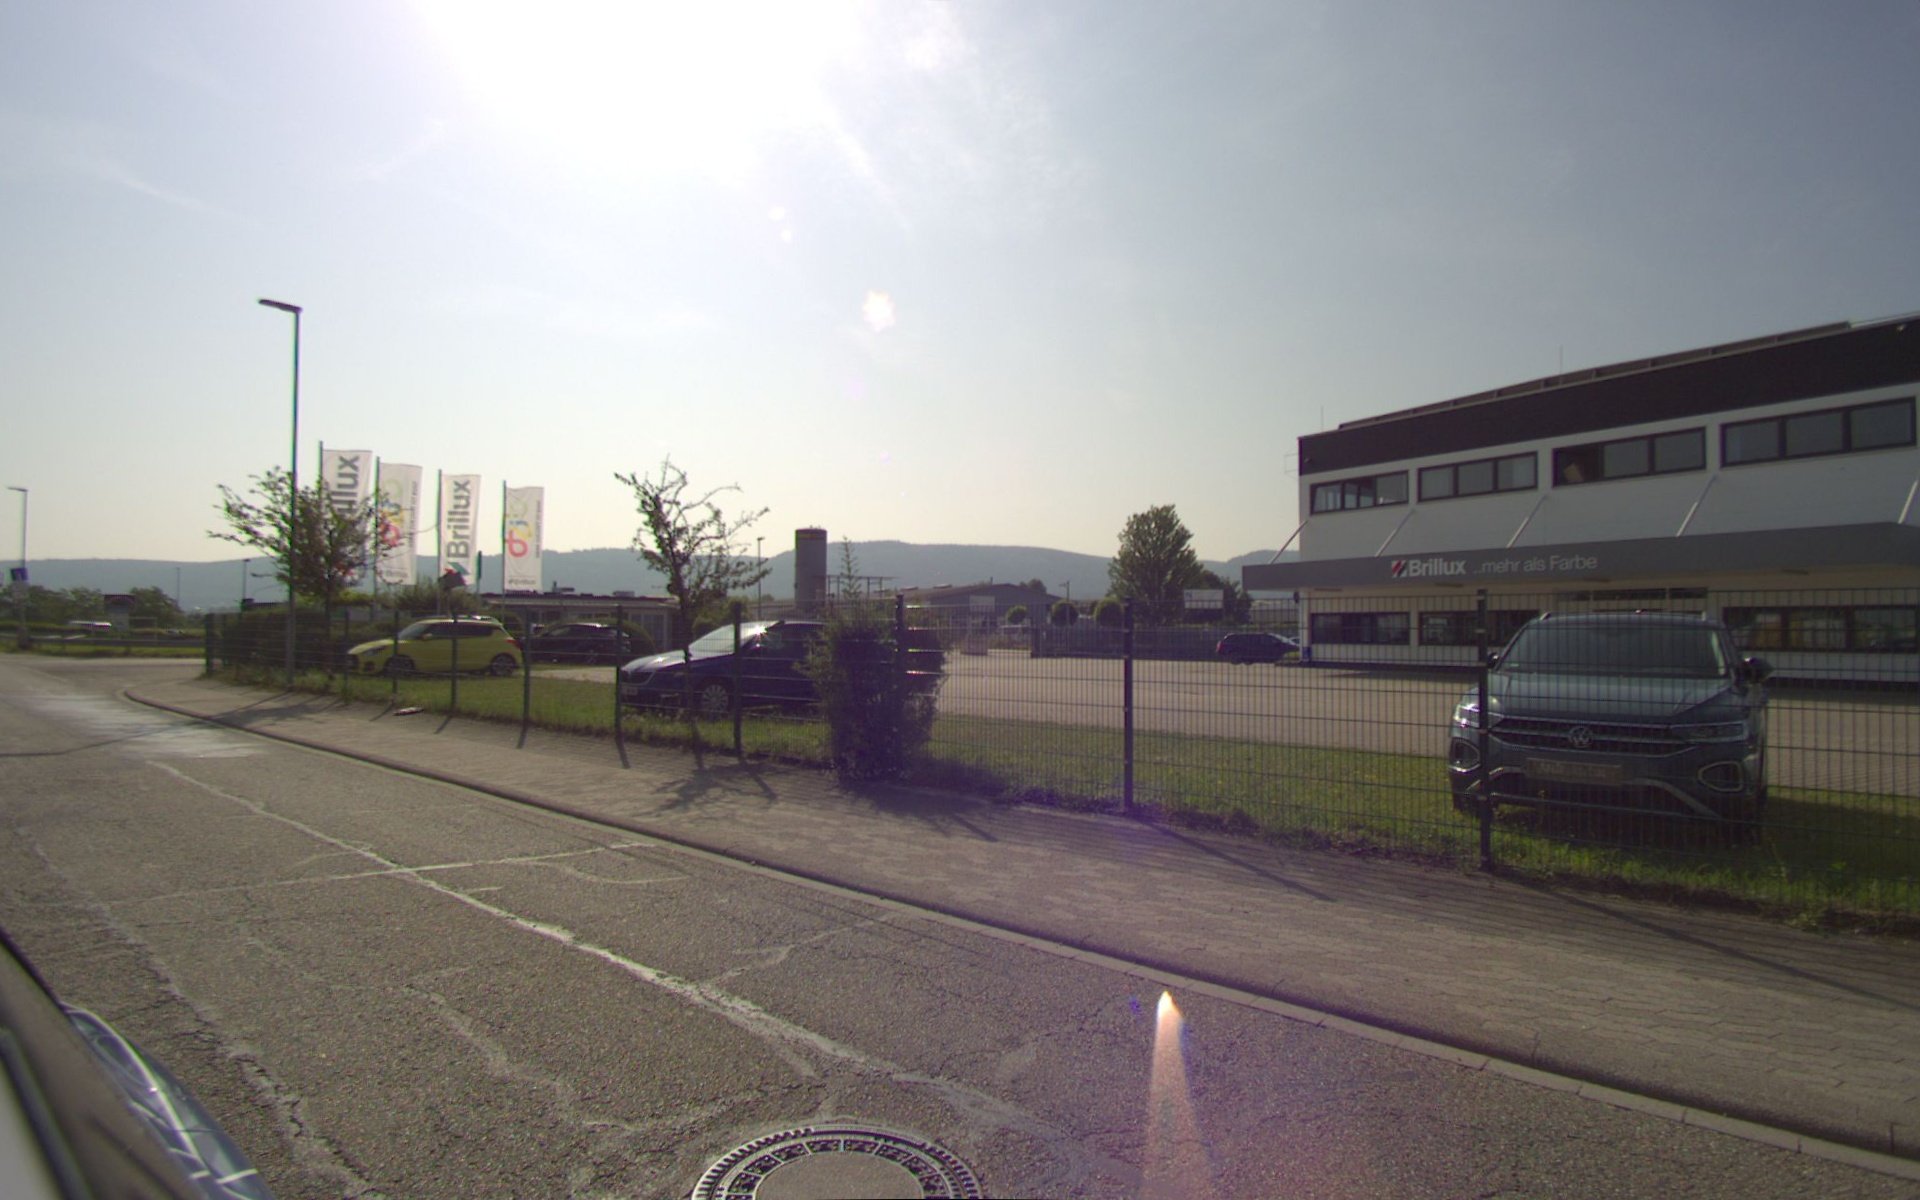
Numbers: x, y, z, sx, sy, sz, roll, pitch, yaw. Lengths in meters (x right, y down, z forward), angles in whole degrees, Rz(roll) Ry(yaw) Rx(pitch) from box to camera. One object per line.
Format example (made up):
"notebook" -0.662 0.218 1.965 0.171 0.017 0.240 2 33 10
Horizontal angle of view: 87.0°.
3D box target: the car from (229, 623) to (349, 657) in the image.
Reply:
"car" -36.978 2.216 55.871 5.198 1.719 2.002 4 -4 -42

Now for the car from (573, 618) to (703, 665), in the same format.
"car" -12.762 1.663 40.158 4.584 1.765 2.158 2 -2 -28

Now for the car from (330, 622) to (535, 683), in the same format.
"car" -13.015 1.283 25.145 1.868 1.379 4.119 -1 -3 42

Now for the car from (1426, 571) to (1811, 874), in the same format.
"car" 5.028 0.771 7.465 1.864 1.579 4.084 -1 -4 40

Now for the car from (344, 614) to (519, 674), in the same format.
"car" -16.132 1.320 31.013 4.455 1.708 1.954 0 0 6

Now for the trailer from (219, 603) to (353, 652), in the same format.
"trailer" -39.047 1.651 58.757 6.222 2.625 2.861 3 -4 -35

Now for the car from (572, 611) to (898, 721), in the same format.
"car" -3.326 1.024 15.780 2.077 1.455 4.637 -1 -4 40

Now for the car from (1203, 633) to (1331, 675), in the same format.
"car" 13.557 2.351 44.838 5.056 1.715 1.974 -1 -3 39
